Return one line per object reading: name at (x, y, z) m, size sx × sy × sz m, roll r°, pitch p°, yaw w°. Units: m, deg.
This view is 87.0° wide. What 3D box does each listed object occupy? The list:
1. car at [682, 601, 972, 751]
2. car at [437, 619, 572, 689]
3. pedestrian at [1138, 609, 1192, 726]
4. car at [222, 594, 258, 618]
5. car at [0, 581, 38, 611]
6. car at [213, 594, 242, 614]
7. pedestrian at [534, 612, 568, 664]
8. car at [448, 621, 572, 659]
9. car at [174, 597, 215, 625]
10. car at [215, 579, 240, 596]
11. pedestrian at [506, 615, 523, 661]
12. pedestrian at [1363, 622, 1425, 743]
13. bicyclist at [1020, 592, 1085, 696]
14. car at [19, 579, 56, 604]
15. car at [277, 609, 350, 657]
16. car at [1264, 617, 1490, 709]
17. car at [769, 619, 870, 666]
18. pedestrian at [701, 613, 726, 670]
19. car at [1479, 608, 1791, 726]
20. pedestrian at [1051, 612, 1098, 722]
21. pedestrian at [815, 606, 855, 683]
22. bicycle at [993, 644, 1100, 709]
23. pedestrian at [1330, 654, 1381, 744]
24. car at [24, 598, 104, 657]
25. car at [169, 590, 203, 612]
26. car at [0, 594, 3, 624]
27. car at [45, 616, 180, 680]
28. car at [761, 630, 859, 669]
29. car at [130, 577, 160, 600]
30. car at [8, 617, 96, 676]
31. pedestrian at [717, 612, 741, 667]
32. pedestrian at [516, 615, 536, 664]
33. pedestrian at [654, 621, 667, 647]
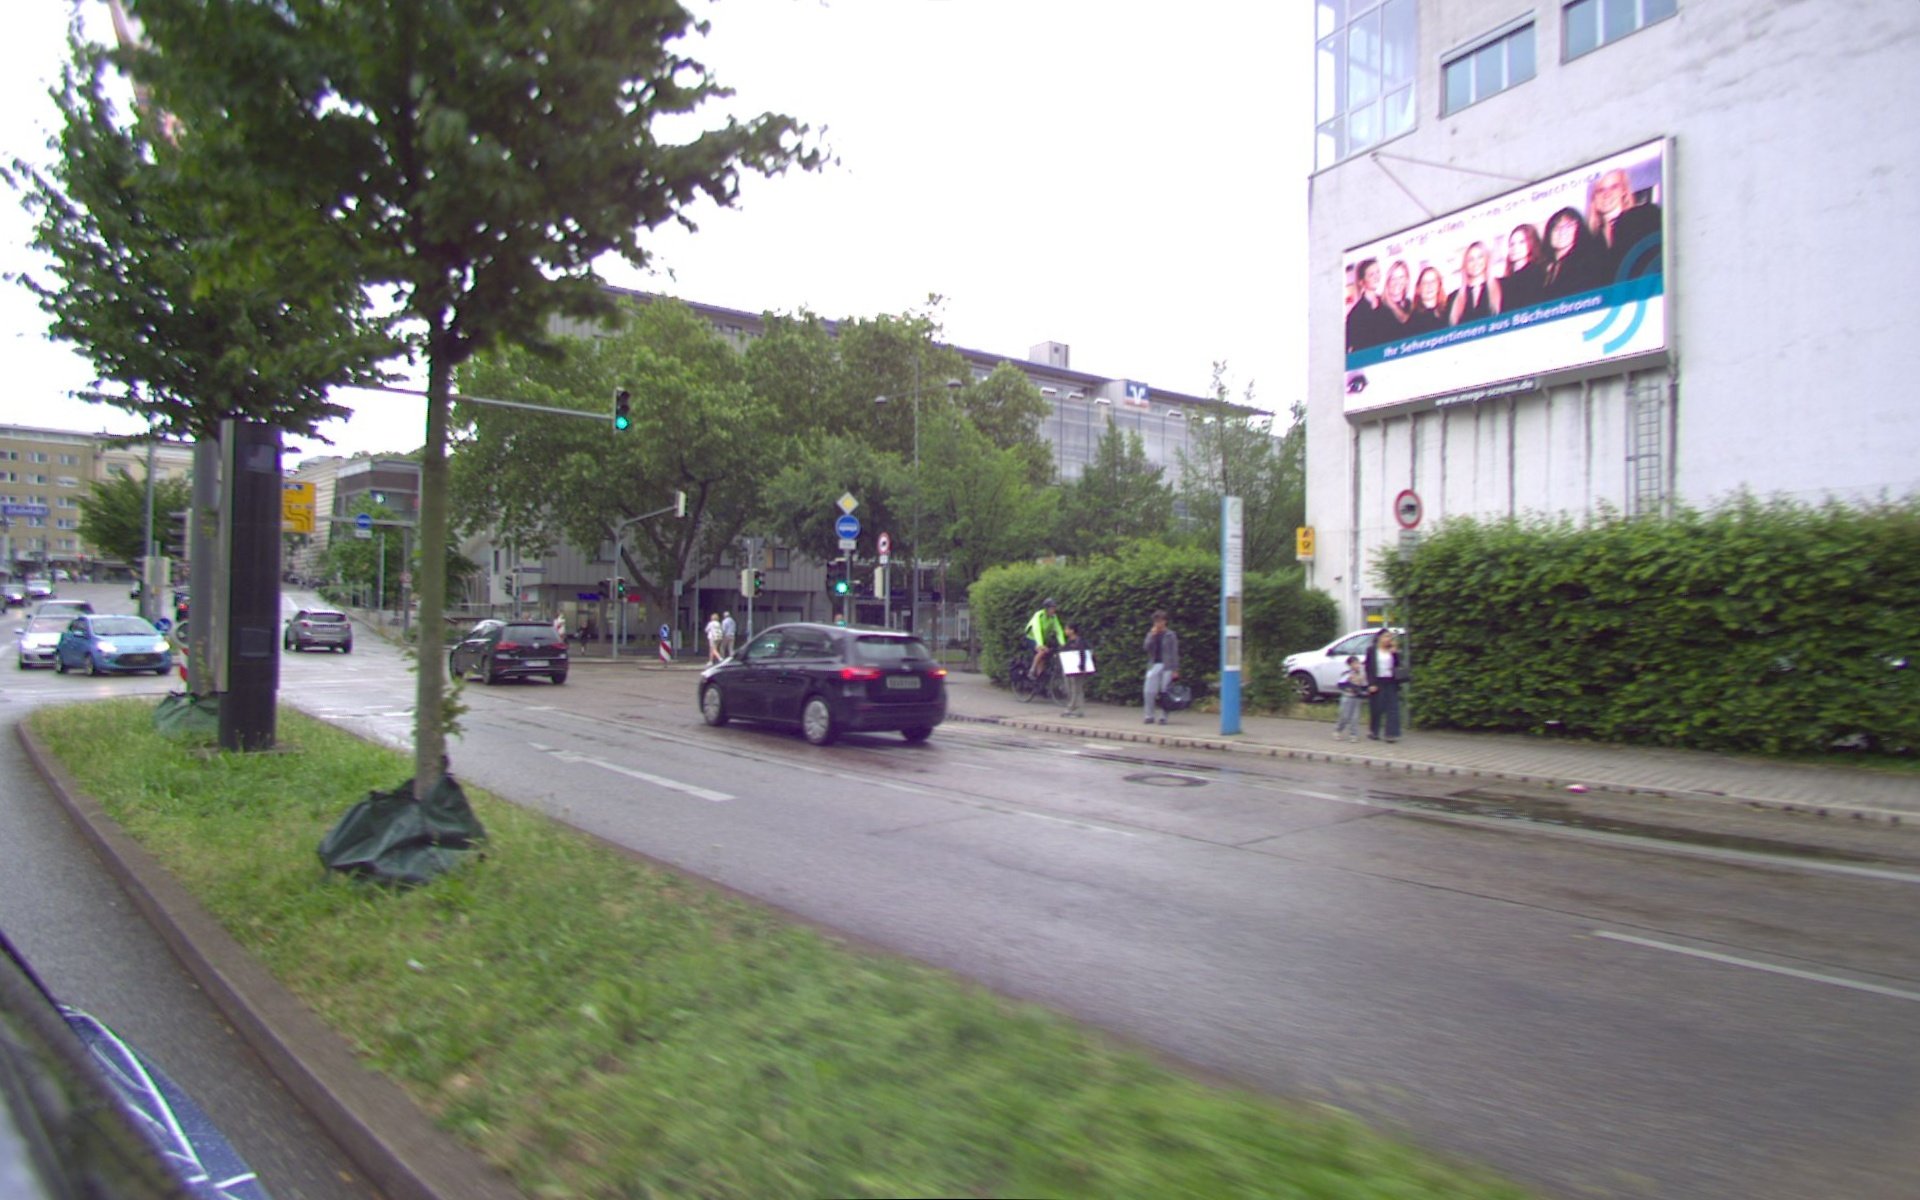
car at (-1.969, 0.954, 14.001) m, size 1.805 × 1.749 × 4.263 m, roll 4°, pitch -3°, yaw -43°
car at (-10.714, 1.216, 23.669) m, size 1.736 × 1.431 × 4.103 m, roll 4°, pitch -3°, yaw -41°
pedestrian at (3.206, 1.043, 15.834) m, size 0.642 × 1.778 × 0.585 m, roll -1°, pitch -2°, yaw 36°
car at (-49.415, 0.423, 69.459) m, size 1.651 × 1.527 × 3.649 m, roll 3°, pitch -2°, yaw -40°
car at (-63.463, -0.279, 68.081) m, size 1.804 × 1.749 × 4.008 m, roll 3°, pitch 0°, yaw -39°
car at (-61.389, 0.323, 84.838) m, size 1.598 × 1.502 × 3.886 m, roll 4°, pitch -3°, yaw -40°
pedestrian at (-15.358, 1.398, 38.050) m, size 0.823 × 1.921 × 0.853 m, roll 0°, pitch -1°, yaw 26°
car at (-18.852, 1.656, 42.531) m, size 4.357 × 1.406 × 1.936 m, roll 2°, pitch -1°, yaw -7°
car at (-44.326, 0.660, 58.567) m, size 1.603 × 1.567 × 3.664 m, roll 2°, pitch -2°, yaw -42°
car at (-68.640, -1.168, 94.855) m, size 1.604 × 1.448 × 3.654 m, roll 2°, pitch 1°, yaw -40°
pedestrian at (-17.533, 1.507, 39.867) m, size 0.406 × 1.777 × 0.677 m, roll 2°, pitch -3°, yaw -42°
pedestrian at (5.837, 1.081, 13.595) m, size 0.565 × 1.571 × 0.707 m, roll -2°, pitch -3°, yaw 41°
bicyclist at (1.744, 0.823, 19.123) m, size 0.953 × 1.904 × 0.783 m, roll -1°, pitch -2°, yaw 41°
car at (-71.047, -0.684, 77.987) m, size 1.804 × 1.749 × 4.008 m, roll 3°, pitch 0°, yaw -39°
car at (-25.770, 1.285, 40.304) m, size 1.805 × 1.749 × 4.317 m, roll 2°, pitch -1°, yaw -41°
car at (8.149, 1.190, 19.982) m, size 3.834 × 1.637 × 1.578 m, roll -2°, pitch -3°, yaw 41°
car at (-5.398, 1.642, 39.067) m, size 3.545 × 1.709 × 1.639 m, roll 2°, pitch -3°, yaw -40°
pedestrian at (-7.896, 1.306, 32.414) m, size 0.520 × 1.777 × 0.593 m, roll -2°, pitch 2°, yaw -42°
car at (9.827, 0.903, 14.900) m, size 3.601 × 1.522 × 1.577 m, roll -1°, pitch -2°, yaw 44°
pedestrian at (1.906, 1.093, 16.833) m, size 0.527 × 1.778 × 0.623 m, roll -1°, pitch -2°, yaw 37°
pedestrian at (-2.956, 1.040, 23.894) m, size 0.639 × 1.777 × 0.593 m, roll 2°, pitch 1°, yaw -45°
bicycle at (1.615, 1.425, 19.221) m, size 2.057 × 1.119 × 0.643 m, roll -1°, pitch -2°, yaw 42°
pedestrian at (5.334, 1.320, 13.664) m, size 0.501 × 1.159 × 0.463 m, roll -2°, pitch -3°, yaw 41°
car at (-32.262, 0.907, 36.553) m, size 1.968 × 1.791 × 4.895 m, roll -1°, pitch 3°, yaw -40°
car at (-57.496, 0.052, 75.155) m, size 1.692 × 1.490 × 3.964 m, roll 4°, pitch -2°, yaw -41°
car at (-57.601, 0.539, 59.334) m, size 1.804 × 1.749 × 4.008 m, roll 3°, pitch 0°, yaw -39°
car at (-21.117, 1.158, 25.192) m, size 3.682 × 1.485 × 1.681 m, roll -1°, pitch -2°, yaw 35°
car at (-6.399, 2.105, 43.424) m, size 1.702 × 1.598 × 3.942 m, roll -2°, pitch -3°, yaw 44°
car at (-67.369, -0.956, 83.698) m, size 1.804 × 1.749 × 4.008 m, roll 3°, pitch 0°, yaw -39°
car at (-25.462, 1.233, 28.403) m, size 1.744 × 1.420 × 4.005 m, roll 0°, pitch 1°, yaw -42°
pedestrian at (-7.512, 1.277, 32.902) m, size 0.520 × 1.778 × 0.593 m, roll 2°, pitch -2°, yaw -42°
pedestrian at (-16.765, 1.517, 39.111) m, size 0.441 × 1.851 × 0.677 m, roll 2°, pitch 1°, yaw -44°
pedestrian at (-19.856, 2.229, 67.090) m, size 0.612 × 1.669 × 0.634 m, roll 2°, pitch 1°, yaw -34°
